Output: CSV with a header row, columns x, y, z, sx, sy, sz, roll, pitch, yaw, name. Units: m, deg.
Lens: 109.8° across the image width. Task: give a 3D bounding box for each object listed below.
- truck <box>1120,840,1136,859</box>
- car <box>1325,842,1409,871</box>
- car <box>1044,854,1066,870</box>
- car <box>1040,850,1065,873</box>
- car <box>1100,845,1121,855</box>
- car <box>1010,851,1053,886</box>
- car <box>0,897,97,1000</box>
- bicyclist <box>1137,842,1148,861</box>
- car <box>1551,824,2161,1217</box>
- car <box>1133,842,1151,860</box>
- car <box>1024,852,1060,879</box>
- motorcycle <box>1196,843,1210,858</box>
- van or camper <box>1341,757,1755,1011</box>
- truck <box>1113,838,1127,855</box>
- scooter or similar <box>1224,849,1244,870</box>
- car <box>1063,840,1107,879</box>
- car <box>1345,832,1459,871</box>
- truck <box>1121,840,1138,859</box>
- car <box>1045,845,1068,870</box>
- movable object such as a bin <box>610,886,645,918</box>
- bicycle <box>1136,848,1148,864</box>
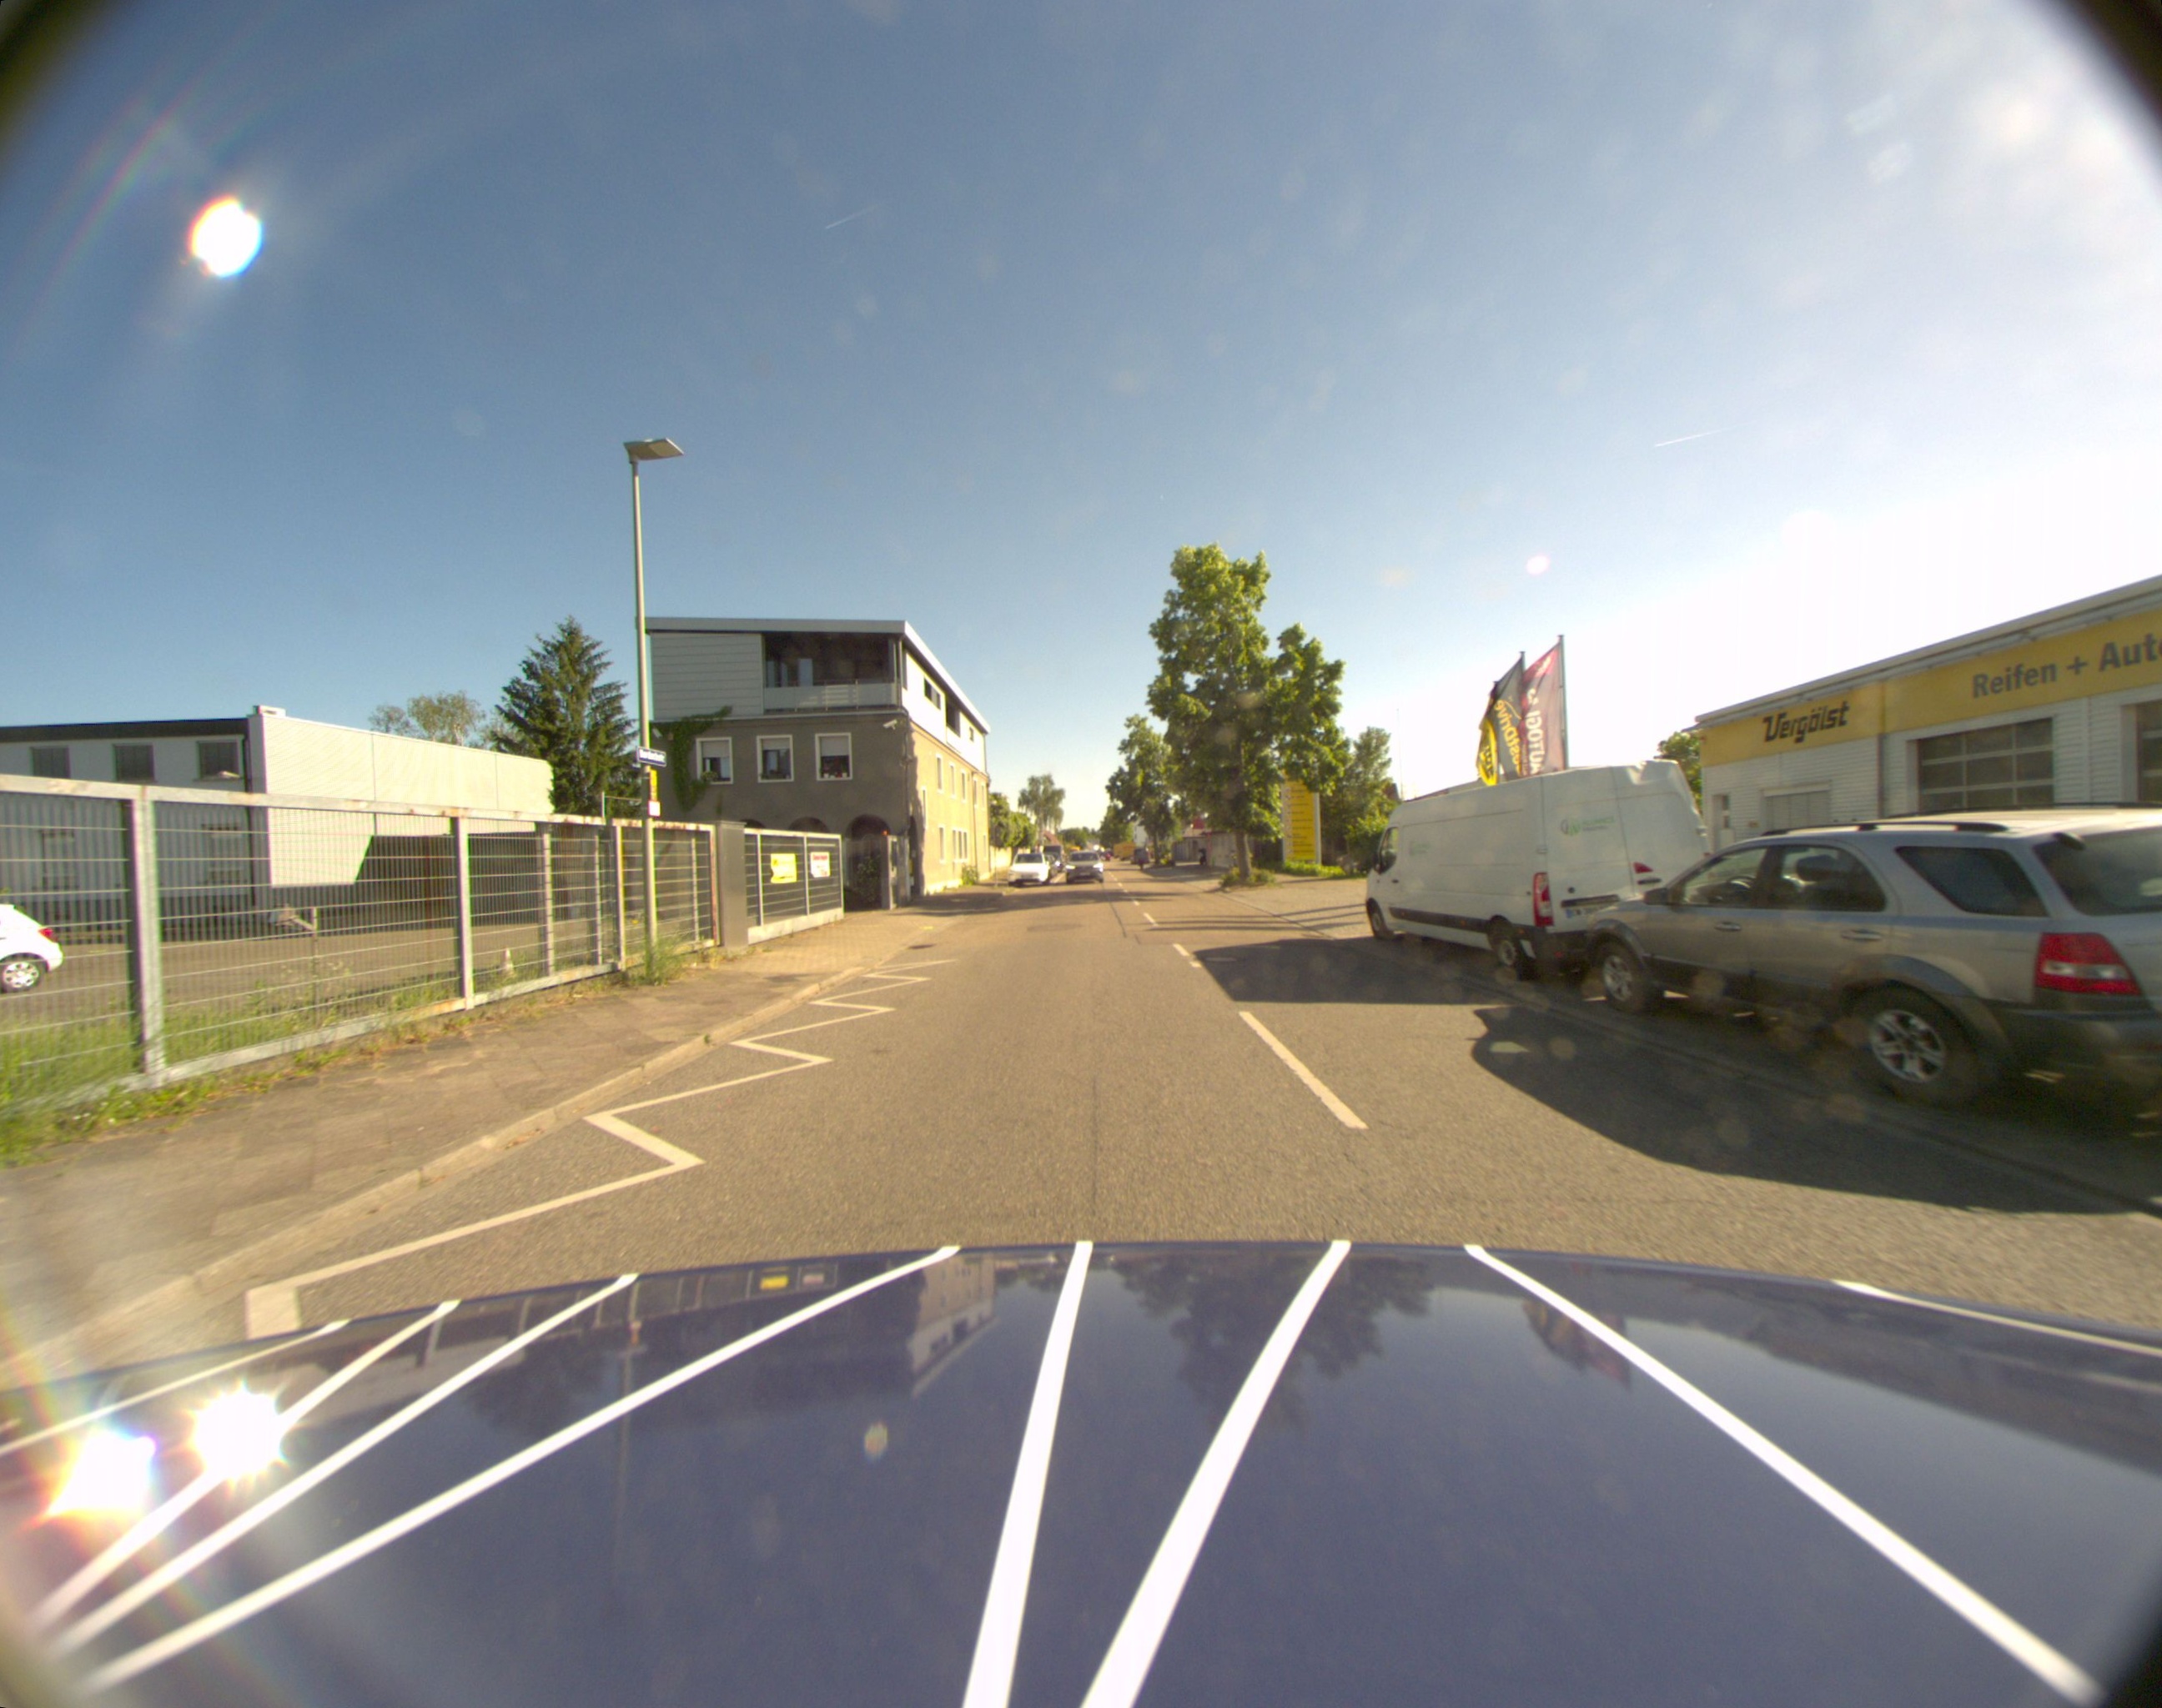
x,y,z,sx,sy,sz,roll,pitch,yaw,name
7.469,-0.755,121.864,2.145,2.857,5.749,-3,1,1,truck
16.050,0.123,42.748,4.067,1.507,1.775,-2,1,6,car
-2.224,0.650,65.541,1.658,1.310,4.104,-1,0,1,car
-2.241,0.570,60.463,1.686,1.604,4.205,-3,0,1,car
4.339,-0.556,111.215,1.872,1.412,4.536,0,0,18,car
-2.444,0.672,38.698,1.937,1.635,4.769,-1,0,-1,car
-18.229,1.577,11.107,1.867,1.555,4.296,-2,0,6,car
4.959,-0.185,61.766,0.841,1.533,1.136,1,2,3,bicyclist
5.970,0.753,5.826,1.998,1.728,4.575,-5,0,4,car
6.642,-0.358,83.427,1.779,1.838,4.616,-4,0,4,car
-2.281,0.654,45.284,1.602,1.464,4.190,-1,0,4,car
10.467,-0.293,65.176,0.701,1.226,2.539,-4,1,0,motorcycle
6.117,0.317,11.370,2.076,2.534,6.403,-6,0,0,van or camper
7.917,-1.586,153.101,2.286,3.012,5.910,-7,1,1,truck
9.680,0.356,48.117,0.484,1.263,1.576,-2,1,-17,scooter or similar
0.204,0.244,38.600,1.998,1.750,5.015,-3,0,0,car
14.026,-0.108,33.484,4.351,1.499,2.002,-2,1,15,car
7.347,-0.749,115.023,2.173,2.698,5.749,-3,1,1,truck
-2.308,0.329,73.063,1.896,2.247,5.145,-1,0,1,car
-14.745,1.556,24.733,0.616,0.967,0.749,-2,2,1,movable object such as a bin
4.948,0.150,61.773,0.841,1.233,2.604,1,1,3,bicycle
